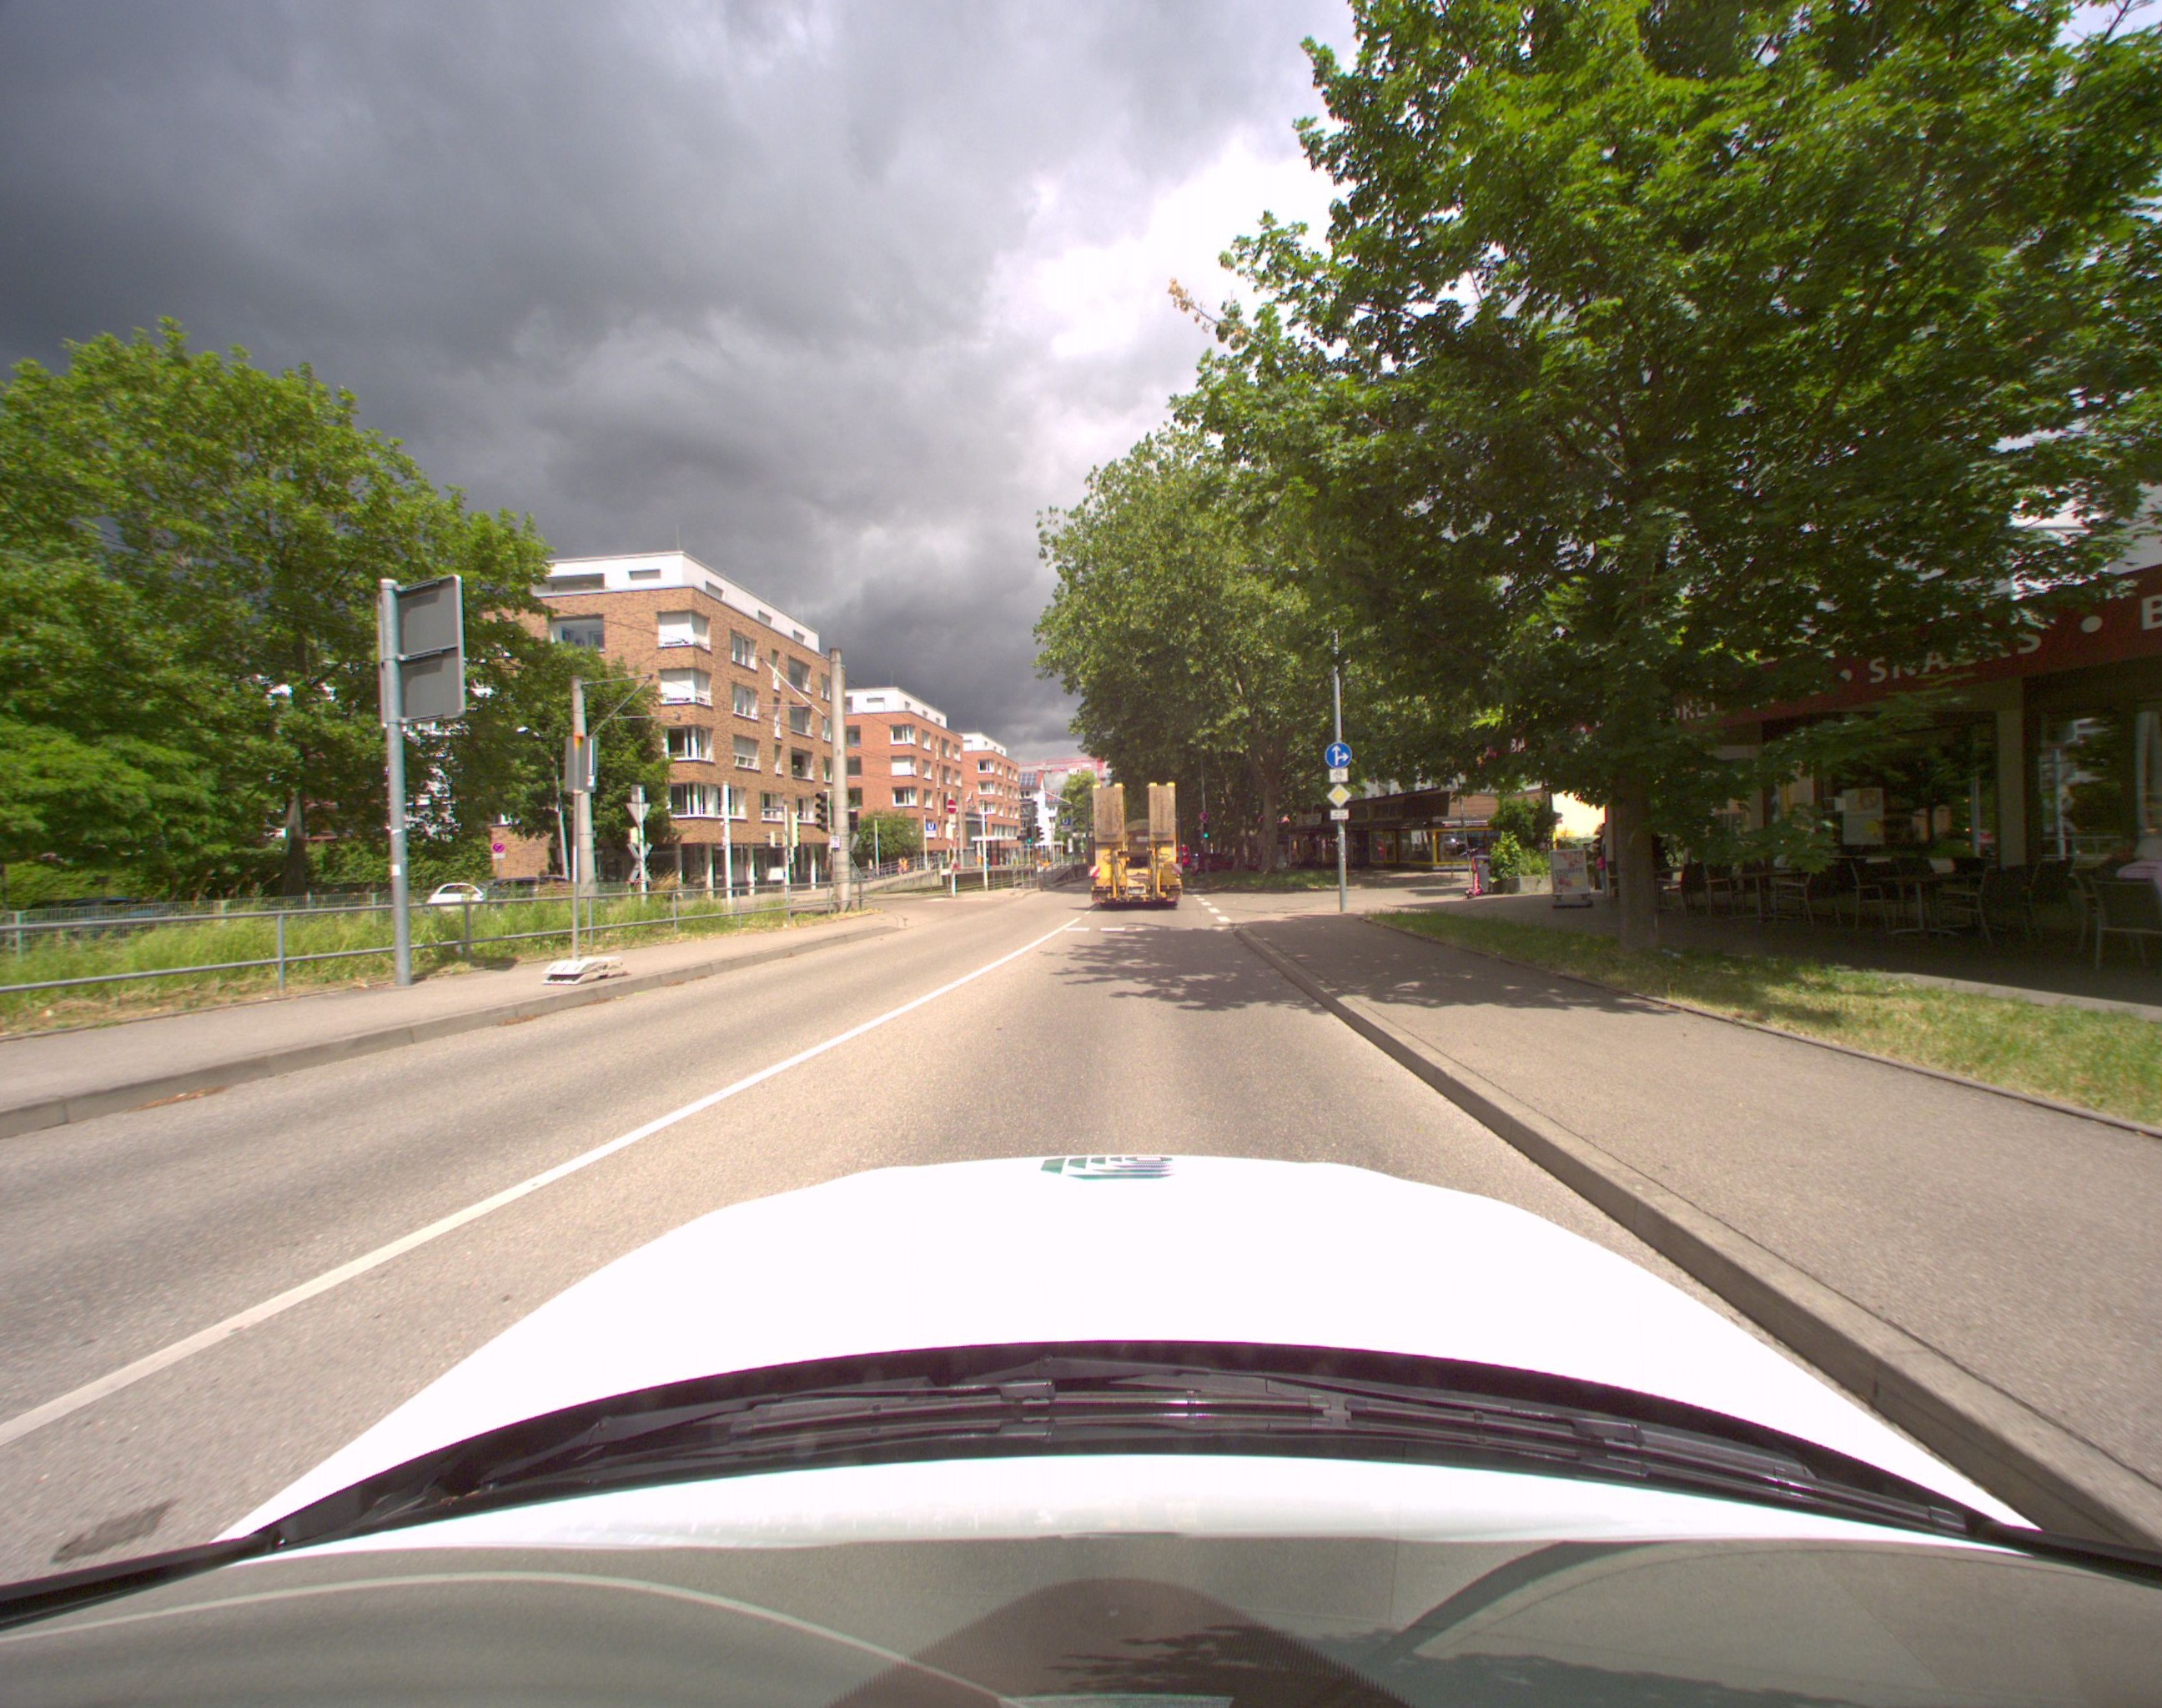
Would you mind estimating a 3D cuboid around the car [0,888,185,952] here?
[{"bbox_3d":[-28.579,1.806,23.082,1.850,1.556,4.108,-2,-1,-2],"label":"car"}]

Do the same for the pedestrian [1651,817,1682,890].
[{"bbox_3d":[12.777,-0.010,17.769,0.504,1.551,0.536,-2,-1,36],"label":"pedestrian"}]

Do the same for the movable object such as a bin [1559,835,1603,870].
[{"bbox_3d":[22.171,-0.079,36.131,1.171,1.412,1.213,-3,2,2],"label":"movable object such as a bin"}]

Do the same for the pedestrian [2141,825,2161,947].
[{"bbox_3d":[11.546,0.310,8.238,0.674,1.267,0.673,-4,-1,-2],"label":"pedestrian"}]

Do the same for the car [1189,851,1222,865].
[{"bbox_3d":[15.671,0.548,102.446,3.818,1.562,1.619,-3,-1,-1],"label":"car"}]

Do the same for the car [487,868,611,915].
[{"bbox_3d":[-19.977,1.392,30.640,3.652,1.476,1.591,-4,-1,8],"label":"car"}]

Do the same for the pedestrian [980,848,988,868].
[{"bbox_3d":[-8.511,0.374,71.353,0.532,1.764,0.529,-2,-1,3],"label":"pedestrian"}]

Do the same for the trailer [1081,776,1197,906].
[{"bbox_3d":[2.096,-0.313,27.921,3.139,3.553,11.112,0,0,5],"label":"trailer"}]

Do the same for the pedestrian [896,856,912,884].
[{"bbox_3d":[-11.961,1.073,55.066,0.740,1.825,0.830,-2,0,5],"label":"pedestrian"}]

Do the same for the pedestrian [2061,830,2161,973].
[{"bbox_3d":[10.075,0.428,7.713,0.671,1.267,0.676,-4,-1,9],"label":"pedestrian"}]

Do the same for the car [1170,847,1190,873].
[{"bbox_3d":[10.590,0.608,87.335,1.895,2.581,6.845,-3,-1,6],"label":"car"}]

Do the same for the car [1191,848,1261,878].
[{"bbox_3d":[8.657,0.557,48.684,4.006,1.611,1.735,-2,-1,8],"label":"car"}]

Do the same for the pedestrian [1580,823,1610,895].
[{"bbox_3d":[11.936,0.112,18.908,0.445,1.632,0.396,-1,-1,-36],"label":"pedestrian"}]

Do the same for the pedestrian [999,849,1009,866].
[{"bbox_3d":[-7.334,0.345,77.417,0.747,1.629,0.817,-1,-1,6],"label":"pedestrian"}]

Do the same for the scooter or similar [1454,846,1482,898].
[{"bbox_3d":[9.986,0.450,21.011,0.372,1.307,1.239,-3,-1,37],"label":"scooter or similar"}]

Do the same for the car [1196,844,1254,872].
[{"bbox_3d":[9.358,0.273,53.055,3.394,1.514,1.611,-4,-1,1],"label":"car"}]

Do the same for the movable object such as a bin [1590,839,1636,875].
[{"bbox_3d":[22.517,0.107,34.502,1.177,1.412,1.145,-3,2,2],"label":"movable object such as a bin"}]

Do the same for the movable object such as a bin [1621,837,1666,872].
[{"bbox_3d":[24.595,0.014,35.642,1.177,1.412,1.145,-3,2,2],"label":"movable object such as a bin"}]

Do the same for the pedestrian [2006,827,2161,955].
[{"bbox_3d":[10.769,0.384,8.735,0.671,1.267,0.825,-4,-1,-4],"label":"pedestrian"}]

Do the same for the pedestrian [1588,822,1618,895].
[{"bbox_3d":[11.789,0.100,18.390,0.445,1.632,0.396,-1,-1,-36],"label":"pedestrian"}]

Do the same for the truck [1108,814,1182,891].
[{"bbox_3d":[2.968,-0.044,37.403,2.975,3.135,7.898,0,-1,5],"label":"truck"}]

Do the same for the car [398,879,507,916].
[{"bbox_3d":[-27.118,1.871,35.196,3.516,1.399,1.596,-2,-1,3],"label":"car"}]
